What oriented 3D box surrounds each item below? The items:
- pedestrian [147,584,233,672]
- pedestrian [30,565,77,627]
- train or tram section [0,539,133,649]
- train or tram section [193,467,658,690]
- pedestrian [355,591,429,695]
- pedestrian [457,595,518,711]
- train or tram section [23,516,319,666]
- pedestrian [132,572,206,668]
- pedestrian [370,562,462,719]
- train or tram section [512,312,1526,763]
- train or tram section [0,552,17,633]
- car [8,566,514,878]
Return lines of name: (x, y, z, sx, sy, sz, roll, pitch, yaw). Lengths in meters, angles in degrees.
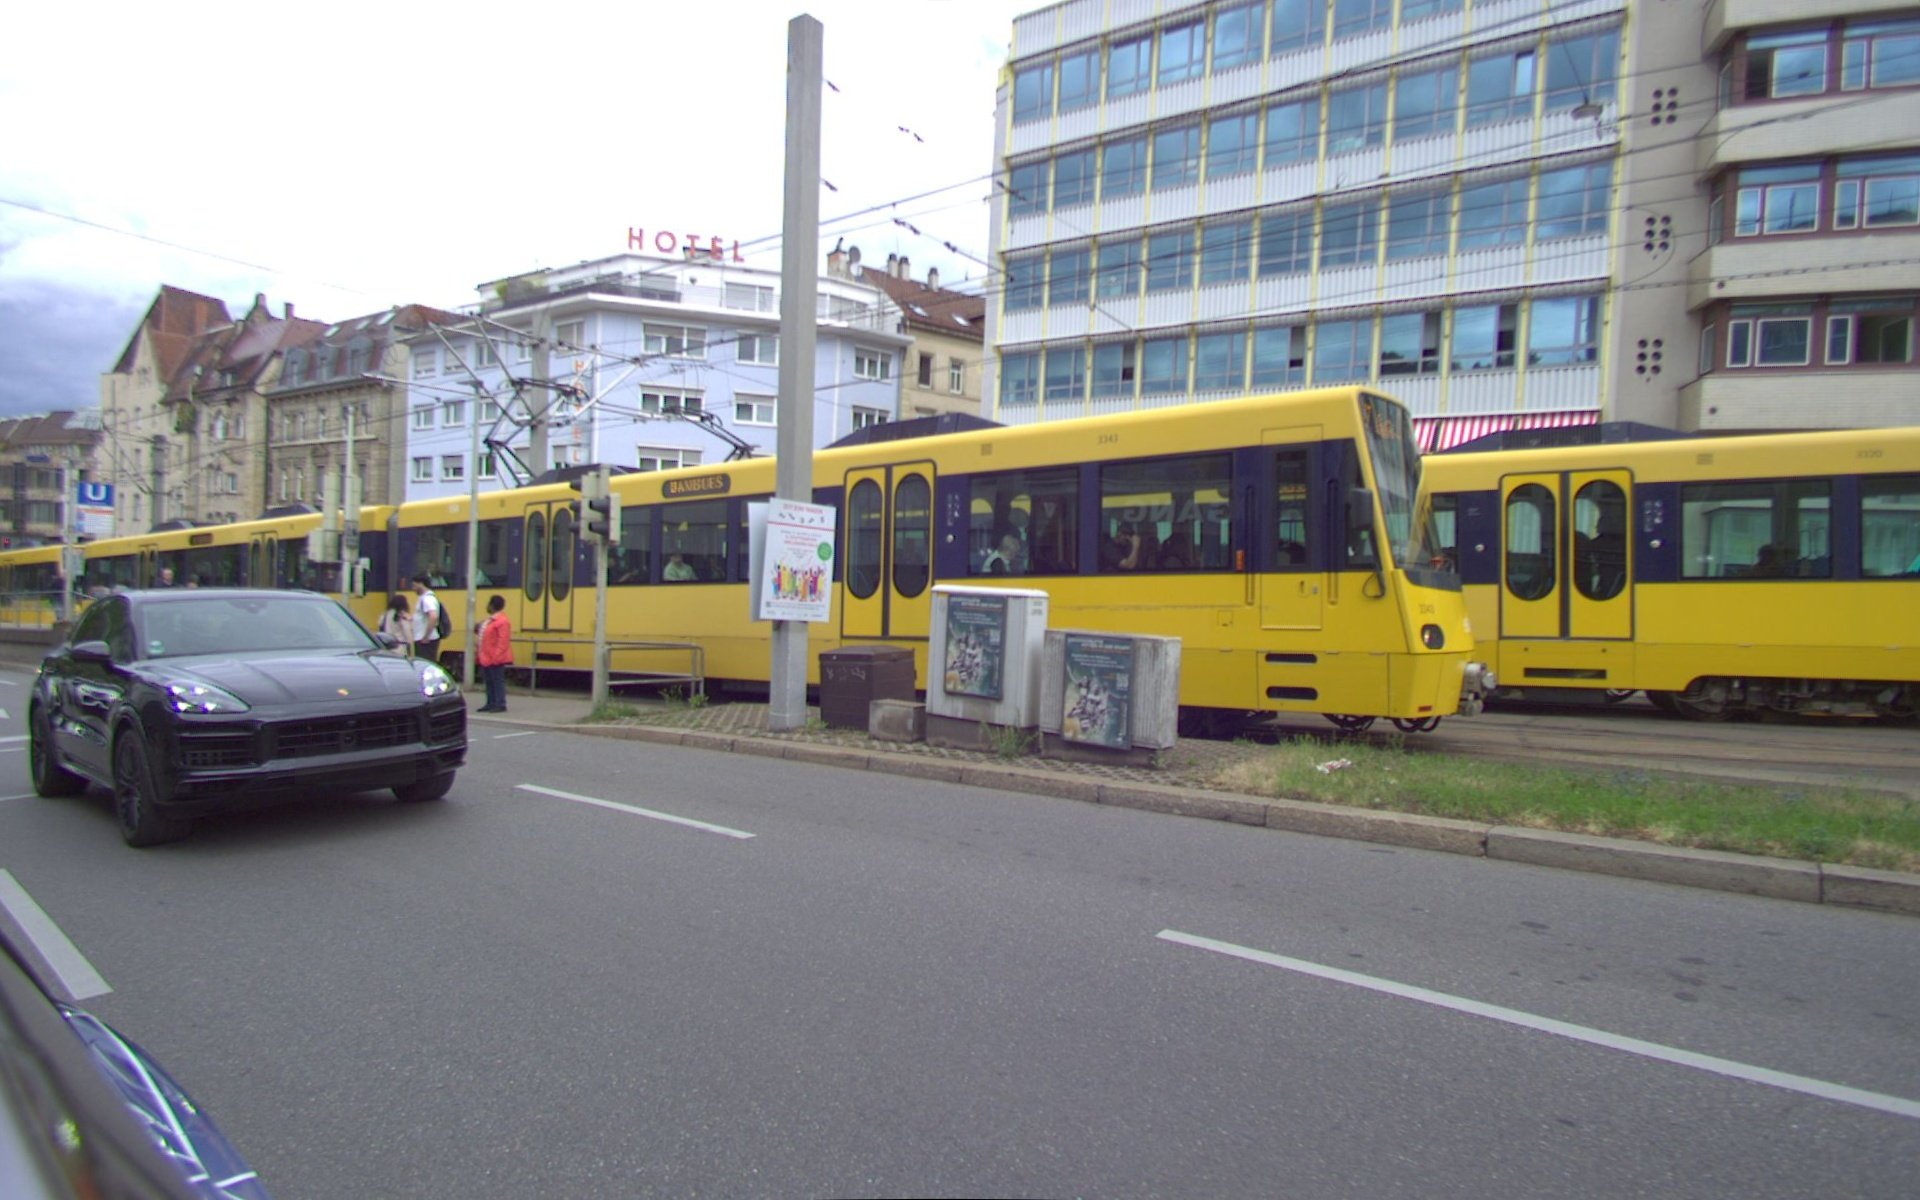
pedestrian: (-15.886, 0.562, 20.898, 1.039, 1.692, 1.107, 5, 2, 35)
pedestrian: (-23.508, -0.095, 26.250, 0.664, 1.596, 0.771, 0, -1, 35)
train or tram section: (-35.542, -0.272, 38.190, 14.195, 3.585, 2.898, 1, 1, 35)
train or tram section: (-12.306, -0.328, 22.032, 14.198, 3.691, 2.856, 0, -1, 35)
pedestrian: (-9.233, 0.685, 16.442, 0.998, 1.637, 0.670, 0, -1, 35)
pedestrian: (-6.349, 0.702, 13.581, 0.568, 1.475, 0.678, 3, 1, -35)
train or tram section: (-23.924, -0.214, 30.147, 14.194, 3.691, 2.857, 0, 0, 35)
pedestrian: (-17.261, 0.417, 22.081, 1.231, 1.984, 0.921, 3, 1, 36)
pedestrian: (-7.621, 0.539, 14.160, 0.953, 2.082, 1.035, 2, 1, -35)
train or tram section: (-0.735, -0.482, 13.694, 14.445, 3.691, 2.856, 0, -1, 36)
train or tram section: (-47.142, -0.239, 46.138, 14.191, 3.467, 2.858, 0, 1, 34)
car: (-5.590, 0.672, 7.827, 4.777, 1.697, 2.007, 0, 0, 40)
